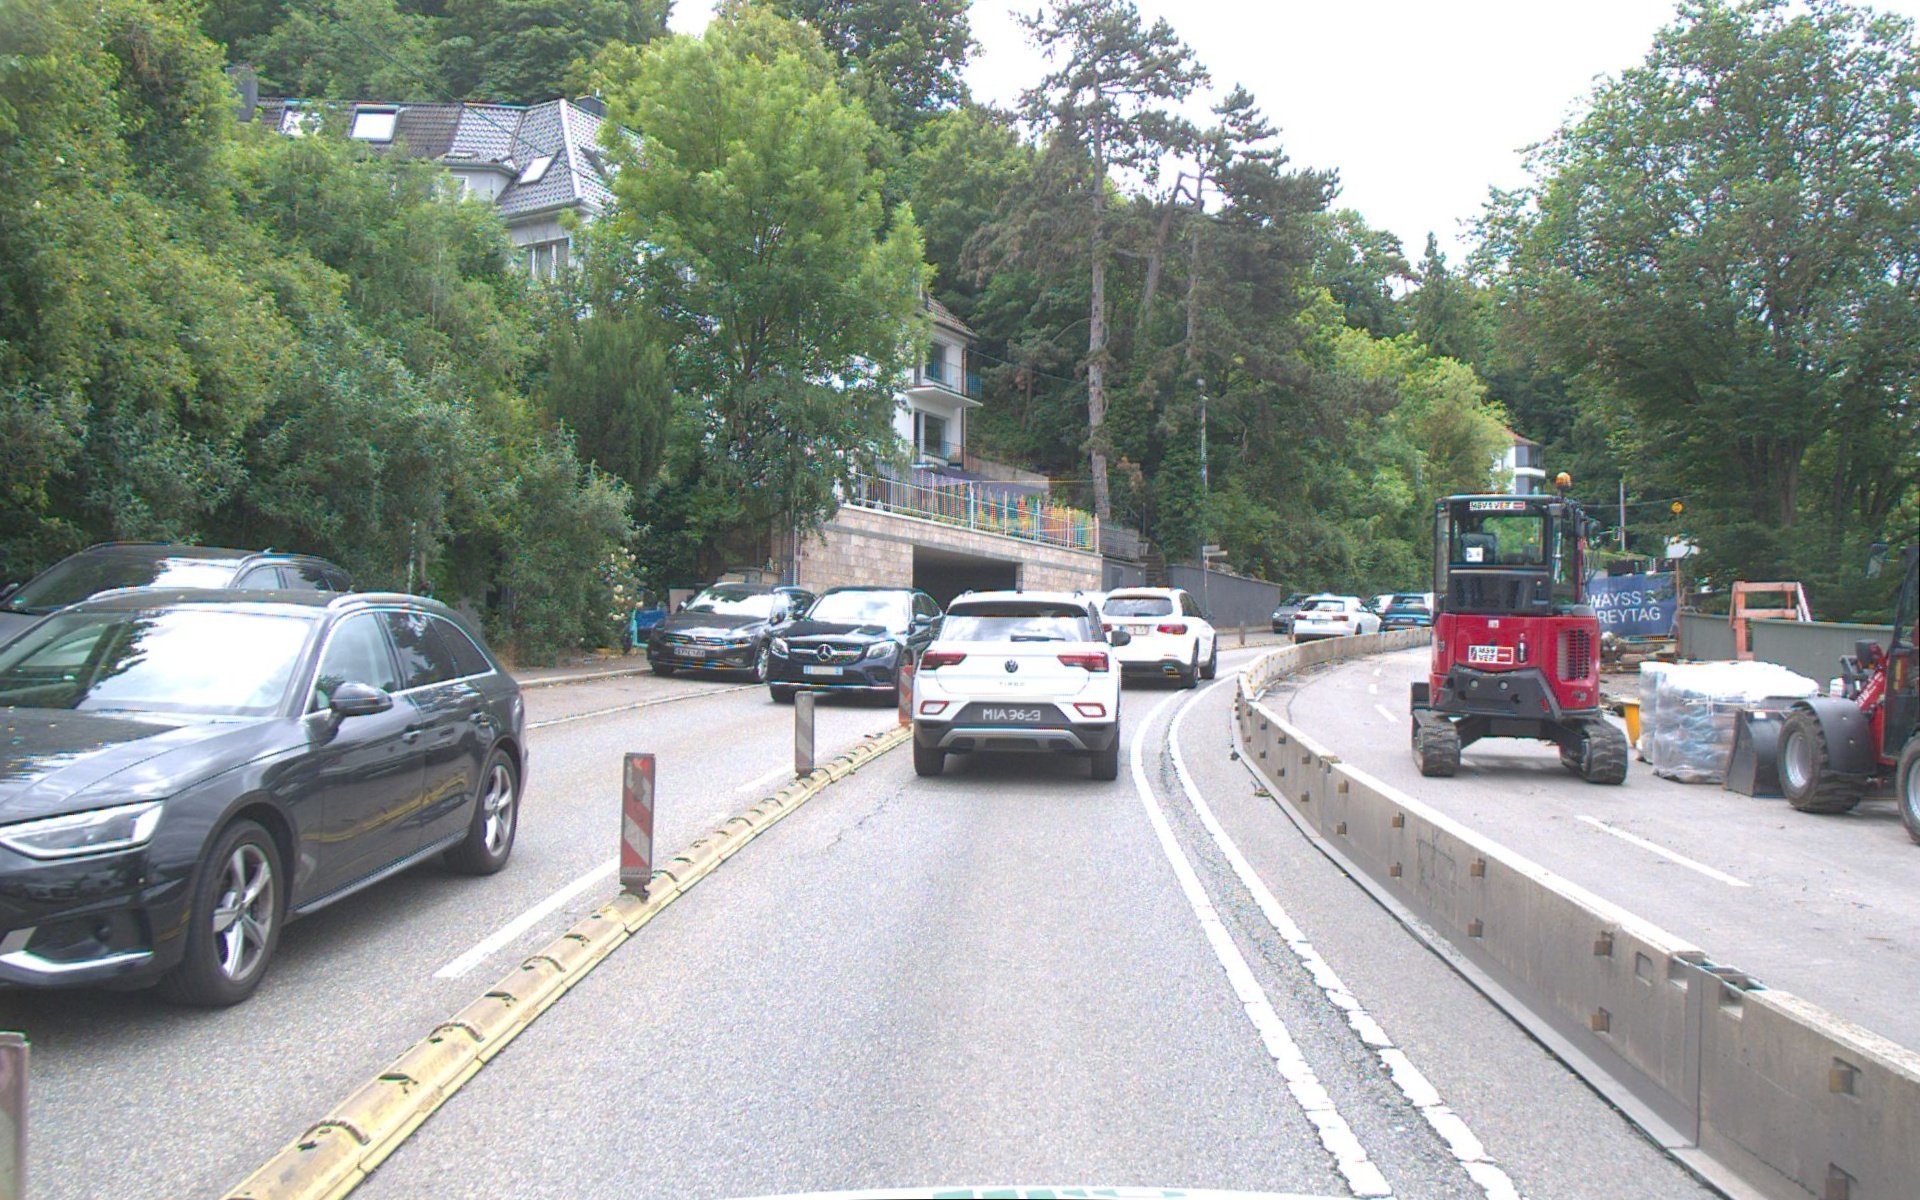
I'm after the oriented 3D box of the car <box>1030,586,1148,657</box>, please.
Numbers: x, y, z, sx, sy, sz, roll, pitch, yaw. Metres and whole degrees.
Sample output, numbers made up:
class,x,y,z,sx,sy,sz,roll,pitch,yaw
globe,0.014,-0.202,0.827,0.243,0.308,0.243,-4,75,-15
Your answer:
class,x,y,z,sx,sy,sz,roll,pitch,yaw
car,3.126,0.485,39.372,1.731,1.544,4.026,1,0,20

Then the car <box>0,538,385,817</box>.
class,x,y,z,sx,sy,sz,roll,pitch,yaw
car,-5.903,0.434,12.004,1.651,1.634,4.189,3,0,4

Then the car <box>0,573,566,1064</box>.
class,x,y,z,sx,sy,sz,roll,pitch,yaw
car,-3.243,0.655,7.216,1.758,1.472,4.364,1,0,3

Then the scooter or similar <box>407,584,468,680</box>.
class,x,y,z,sx,sy,sz,roll,pitch,yaw
scooter or similar,-6.996,0.414,22.158,0.342,1.234,1.046,3,0,5

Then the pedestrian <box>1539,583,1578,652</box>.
class,x,y,z,sx,sy,sz,roll,pitch,yaw
pedestrian,15.258,0.436,42.144,0.769,1.717,0.783,0,0,33

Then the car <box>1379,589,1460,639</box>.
class,x,y,z,sx,sy,sz,roll,pitch,yaw
car,16.305,0.482,58.571,1.776,1.692,3.992,-1,0,30

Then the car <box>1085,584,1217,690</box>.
class,x,y,z,sx,sy,sz,roll,pitch,yaw
car,3.363,0.580,28.570,1.771,1.692,4.003,-1,0,14

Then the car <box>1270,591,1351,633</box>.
class,x,y,z,sx,sy,sz,roll,pitch,yaw
car,12.794,0.403,60.175,1.734,1.460,4.302,0,0,28

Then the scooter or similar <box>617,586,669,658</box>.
class,x,y,z,sx,sy,sz,roll,pitch,yaw
scooter or similar,-5.736,0.389,29.955,0.407,1.253,1.122,3,0,16

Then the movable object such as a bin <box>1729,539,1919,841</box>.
class,x,y,z,sx,sy,sz,roll,pitch,yaw
movable object such as a bin,7.175,0.595,11.724,1.665,1.977,4.166,1,0,3

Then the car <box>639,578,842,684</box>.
class,x,y,z,sx,sy,sz,roll,pitch,yaw
car,-3.474,0.464,27.137,1.699,1.476,4.687,4,1,13

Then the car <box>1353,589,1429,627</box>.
class,x,y,z,sx,sy,sz,roll,pitch,yaw
car,17.905,0.327,68.658,1.737,1.460,4.296,2,1,33

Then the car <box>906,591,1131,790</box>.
class,x,y,z,sx,sy,sz,roll,pitch,yaw
car,0.664,0.705,15.195,1.771,1.558,4.003,1,0,6

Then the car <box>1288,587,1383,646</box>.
class,x,y,z,sx,sy,sz,roll,pitch,yaw
car,11.191,0.457,49.115,1.775,1.692,3.994,-1,0,28

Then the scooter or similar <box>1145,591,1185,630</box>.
class,x,y,z,sx,sy,sz,roll,pitch,yaw
scooter or similar,6.741,0.338,54.423,1.281,1.277,0.467,1,0,3

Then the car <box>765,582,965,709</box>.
class,x,y,z,sx,sy,sz,roll,pitch,yaw
car,-1.240,0.577,23.505,1.730,1.595,4.233,1,0,12

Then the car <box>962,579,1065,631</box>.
class,x,y,z,sx,sy,sz,roll,pitch,yaw
car,1.704,0.171,51.716,1.748,1.478,3.697,1,-1,28

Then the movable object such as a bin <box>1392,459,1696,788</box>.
class,x,y,z,sx,sy,sz,roll,pitch,yaw
movable object such as a bin,5.510,0.167,16.296,2.164,2.709,4.949,1,0,12
